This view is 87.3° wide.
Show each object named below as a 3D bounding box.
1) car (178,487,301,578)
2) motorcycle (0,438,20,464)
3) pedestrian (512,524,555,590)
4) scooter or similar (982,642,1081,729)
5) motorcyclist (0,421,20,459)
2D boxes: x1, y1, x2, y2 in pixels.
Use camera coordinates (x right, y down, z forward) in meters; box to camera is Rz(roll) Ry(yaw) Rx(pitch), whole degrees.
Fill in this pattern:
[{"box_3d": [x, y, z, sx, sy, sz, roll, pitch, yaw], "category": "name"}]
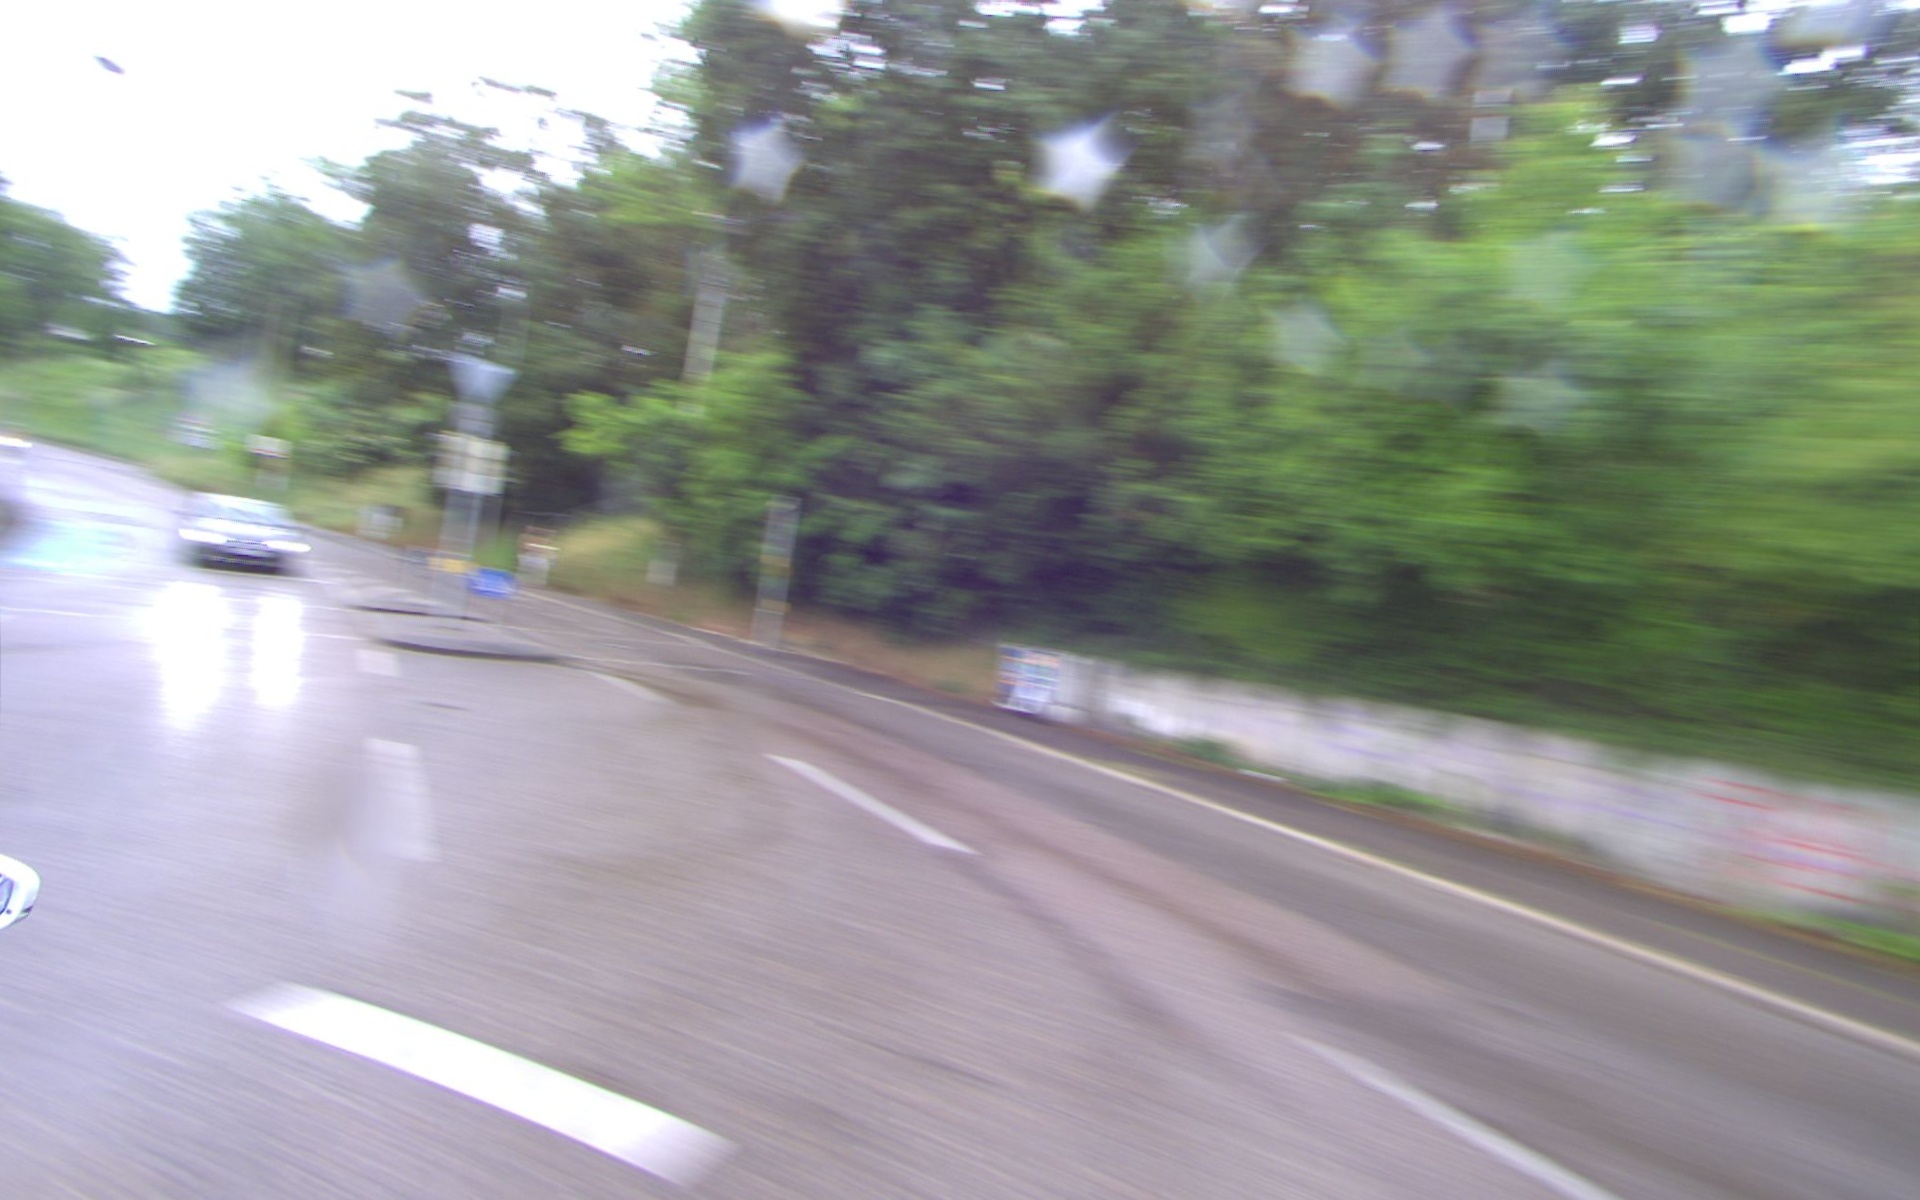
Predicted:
[{"box_3d": [-15.744, -1.525, 21.961, 1.873, 1.540, 4.643, 7, 1, -37], "category": "car"}, {"box_3d": [-51.002, -7.989, 53.696, 2.609, 1.157, 0.937, 11, 2, 43], "category": "motorcycle"}, {"box_3d": [-12.538, -1.258, 29.581, 0.788, 1.773, 0.646, 11, 1, 44], "category": "pedestrian"}, {"box_3d": [1.086, 1.311, 15.718, 0.597, 1.087, 1.757, 9, -1, -26], "category": "scooter or similar"}, {"box_3d": [-51.175, -8.599, 53.936, 1.237, 1.896, 0.882, 11, 2, 43], "category": "motorcyclist"}]
